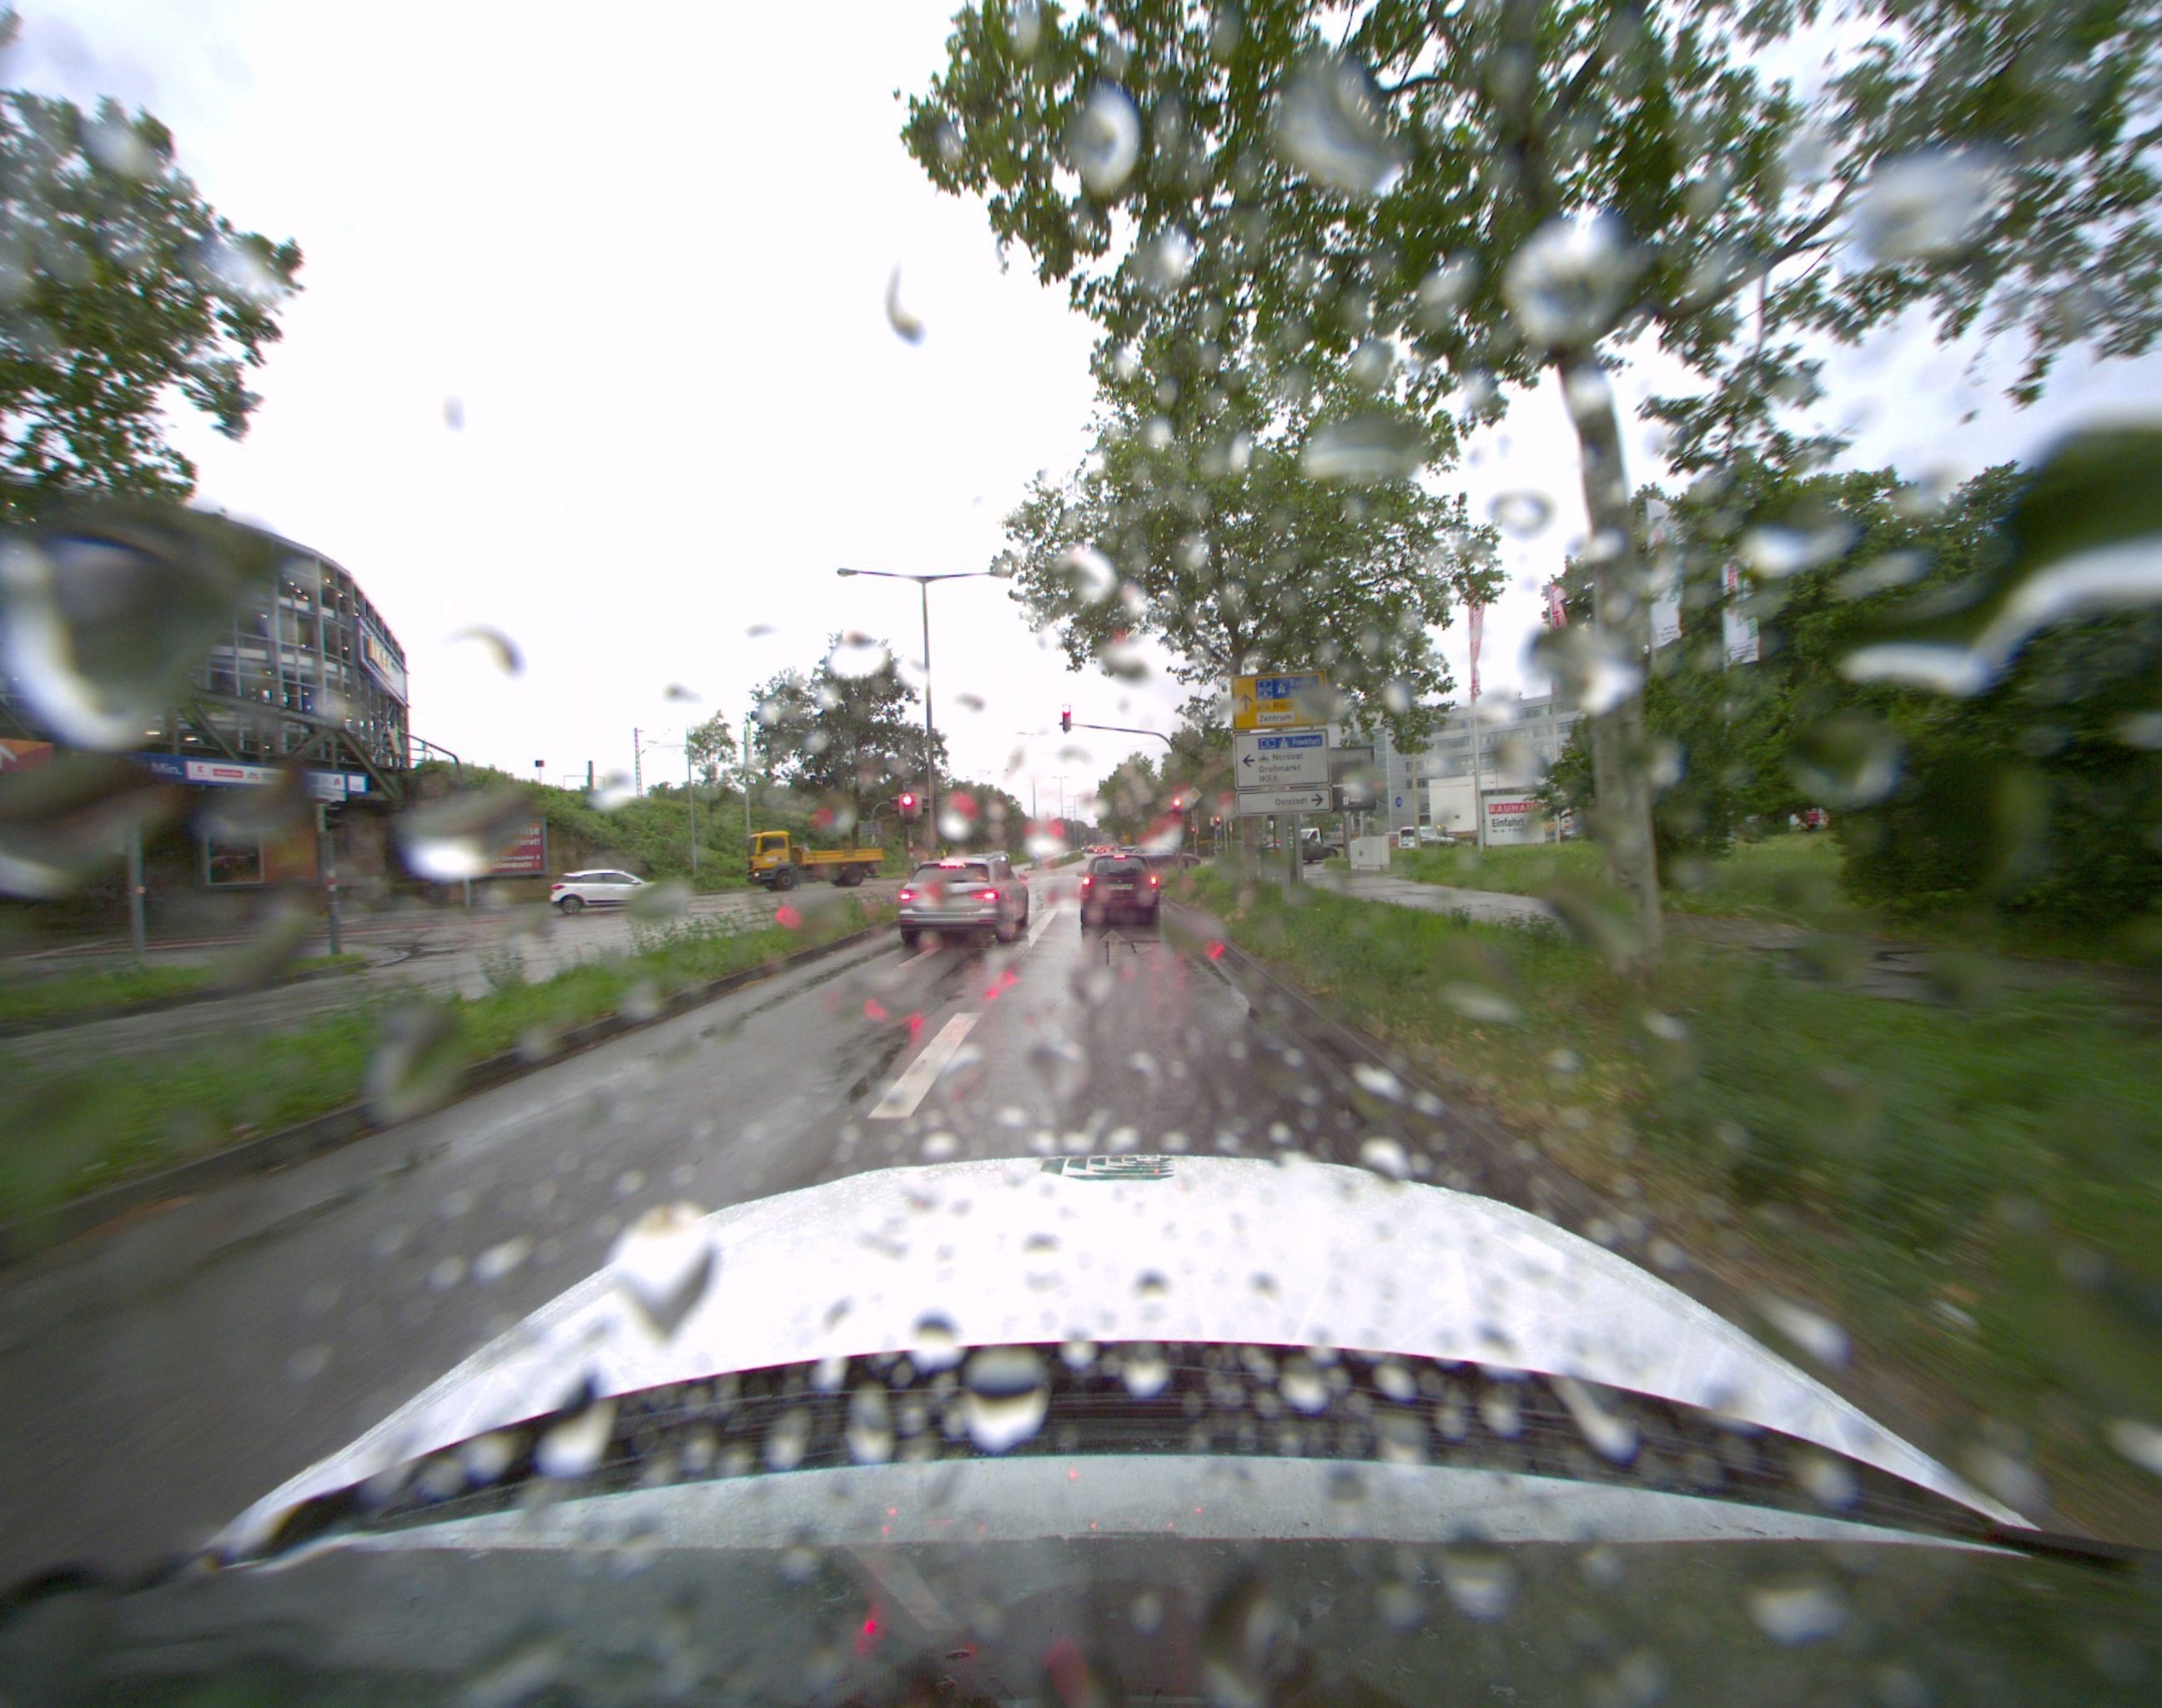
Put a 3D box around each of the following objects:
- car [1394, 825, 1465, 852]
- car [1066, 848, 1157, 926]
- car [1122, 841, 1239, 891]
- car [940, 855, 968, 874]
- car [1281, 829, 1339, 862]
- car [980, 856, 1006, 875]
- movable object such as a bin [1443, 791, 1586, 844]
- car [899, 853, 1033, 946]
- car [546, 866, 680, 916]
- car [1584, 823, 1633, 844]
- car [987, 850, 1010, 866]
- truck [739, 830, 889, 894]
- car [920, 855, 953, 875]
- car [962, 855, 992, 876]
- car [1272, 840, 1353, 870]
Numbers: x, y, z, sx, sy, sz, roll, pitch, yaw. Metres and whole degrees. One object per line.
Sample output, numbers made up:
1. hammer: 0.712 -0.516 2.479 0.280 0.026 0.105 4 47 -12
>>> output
1. car: 22.358 -1.004 52.267 4.398 1.537 1.786 -3 0 -28
2. car: 0.683 0.653 18.467 1.789 1.537 4.389 -1 0 2
3. car: 3.831 0.404 30.913 4.409 1.536 1.781 -5 3 -38
4. car: -11.213 0.914 72.113 1.706 1.530 4.002 -2 0 2
5. car: 17.843 -0.690 63.456 4.405 2.190 1.783 -5 1 -33
6. car: -7.921 1.032 73.543 1.706 1.530 4.002 -2 0 2
7. movable object such as a bin: 58.142 -4.616 109.852 8.296 6.283 14.818 0 -1 -32
8. car: -1.957 0.712 15.217 1.684 1.433 4.576 -2 0 2
9. car: -17.024 1.300 29.721 4.077 1.521 1.980 -2 0 -32
10. car: 44.080 -1.723 68.047 4.405 1.537 1.783 -3 0 -34
11. car: -8.206 0.376 81.344 1.706 1.530 4.002 -2 0 2
12. truck: -14.164 0.369 43.499 7.080 3.054 2.618 -2 0 -36
13. car: -11.597 0.867 65.579 1.706 1.530 4.002 -2 0 2
14. car: -8.497 0.908 66.725 1.706 1.530 4.002 -2 0 2
15. car: 13.174 0.045 46.258 4.398 1.537 1.786 -2 0 -28
